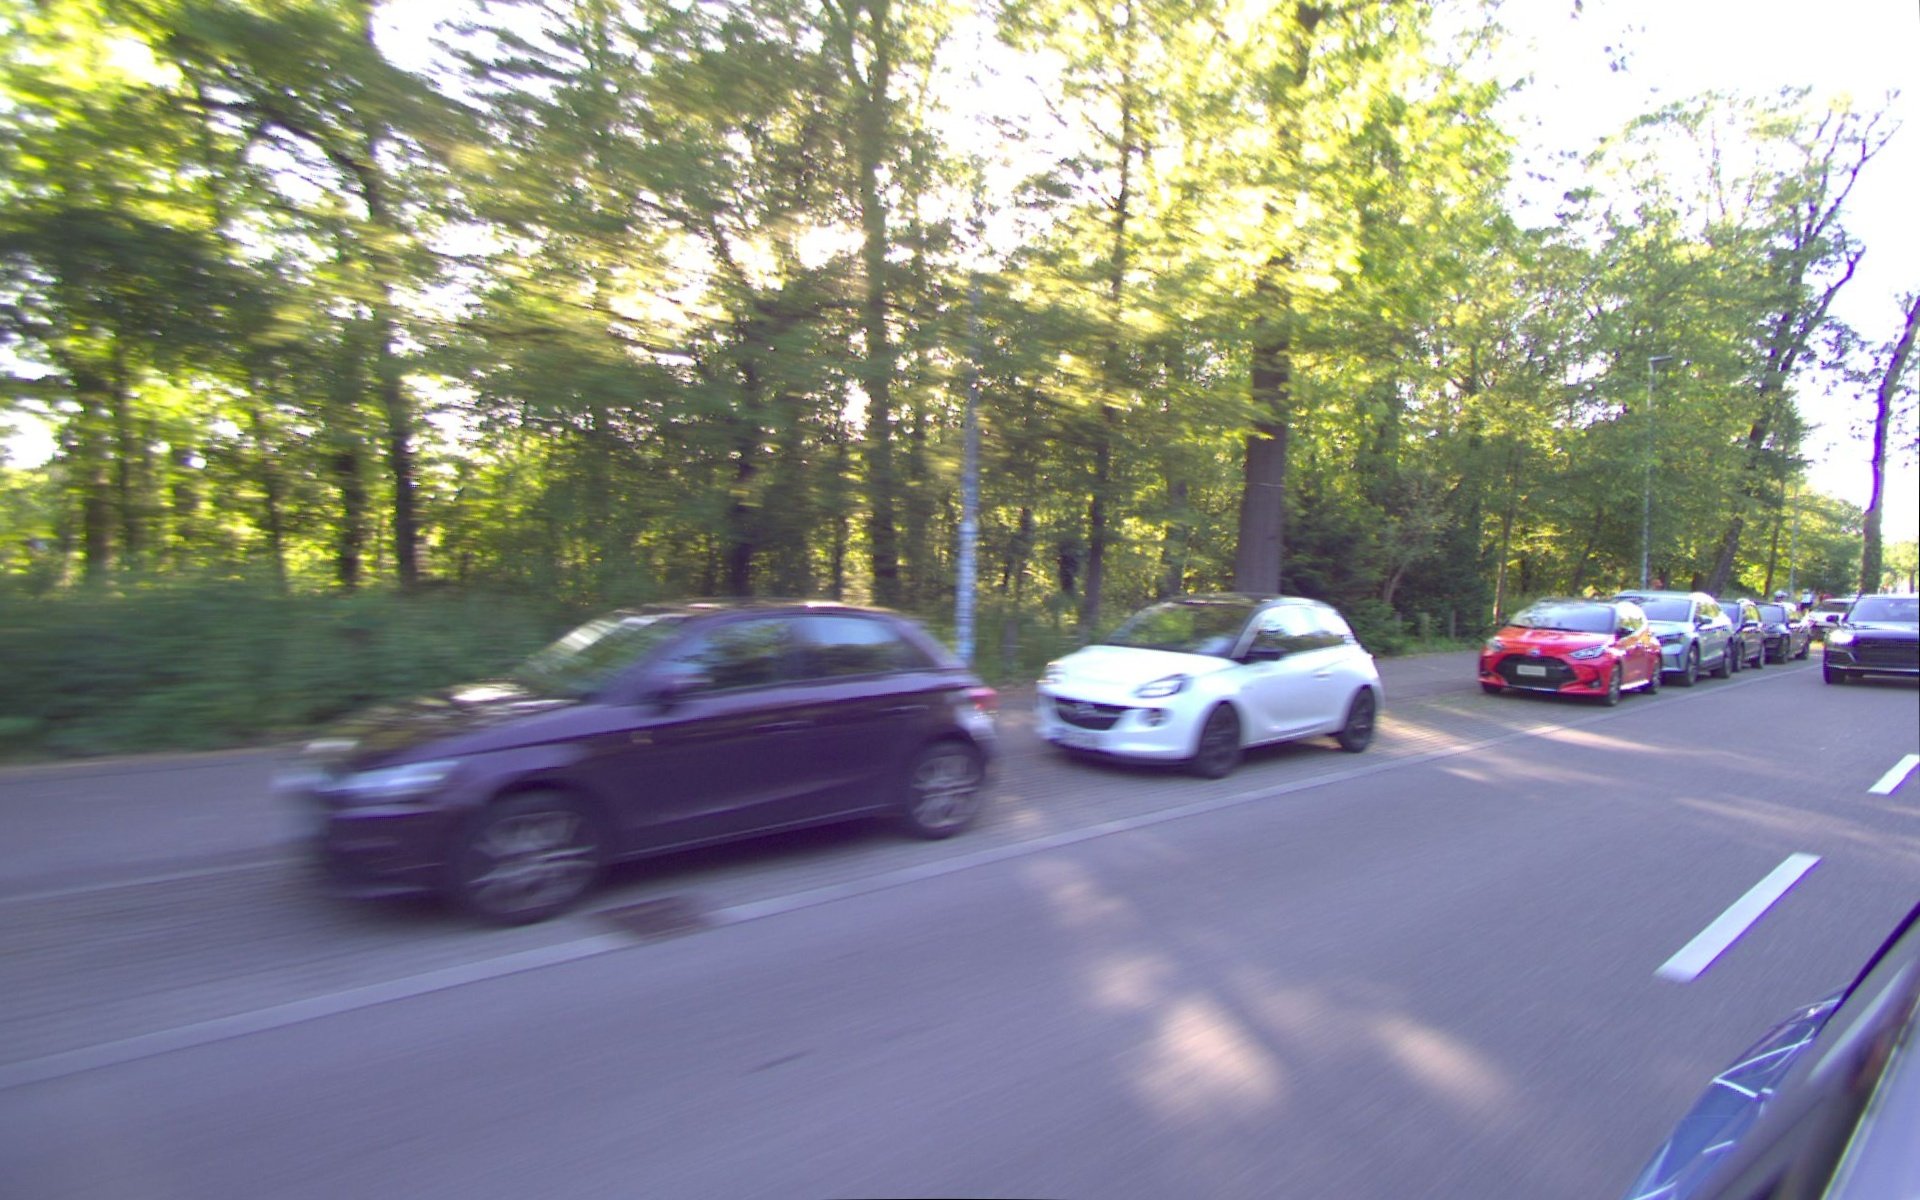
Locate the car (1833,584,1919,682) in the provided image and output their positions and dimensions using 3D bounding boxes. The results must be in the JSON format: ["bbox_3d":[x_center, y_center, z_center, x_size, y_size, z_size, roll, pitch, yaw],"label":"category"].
[{"bbox_3d":[17.432,0.537,18.503,3.934,1.638,1.858,-1,2,-44],"label":"car"}]

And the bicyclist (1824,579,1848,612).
[{"bbox_3d":[42.886,-0.232,49.547,0.861,1.580,0.703,-1,3,-43],"label":"bicyclist"}]

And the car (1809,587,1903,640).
[{"bbox_3d":[30.583,0.414,34.487,4.379,1.579,1.810,0,4,-42],"label":"car"}]

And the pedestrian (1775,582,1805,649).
[{"bbox_3d":[22.617,0.398,27.581,0.510,1.778,0.726,2,2,35],"label":"pedestrian"}]

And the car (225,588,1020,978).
[{"bbox_3d":[-1.640,0.658,5.681,3.878,1.409,1.738,0,2,-42],"label":"car"}]

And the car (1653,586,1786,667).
[{"bbox_3d":[16.652,0.517,22.140,3.844,1.540,1.598,0,4,-43],"label":"car"}]

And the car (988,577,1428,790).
[{"bbox_3d":[2.468,0.593,9.514,4.207,1.474,1.857,0,4,-40],"label":"car"}]

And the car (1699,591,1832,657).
[{"bbox_3d":[20.429,0.534,25.599,4.456,1.452,1.856,0,3,-42],"label":"car"}]

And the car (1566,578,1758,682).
[{"bbox_3d":[13.090,0.462,18.764,4.642,1.604,1.856,0,4,-42],"label":"car"}]

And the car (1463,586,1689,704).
[{"bbox_3d":[9.612,0.575,15.645,4.389,1.474,1.855,0,4,-44],"label":"car"}]
